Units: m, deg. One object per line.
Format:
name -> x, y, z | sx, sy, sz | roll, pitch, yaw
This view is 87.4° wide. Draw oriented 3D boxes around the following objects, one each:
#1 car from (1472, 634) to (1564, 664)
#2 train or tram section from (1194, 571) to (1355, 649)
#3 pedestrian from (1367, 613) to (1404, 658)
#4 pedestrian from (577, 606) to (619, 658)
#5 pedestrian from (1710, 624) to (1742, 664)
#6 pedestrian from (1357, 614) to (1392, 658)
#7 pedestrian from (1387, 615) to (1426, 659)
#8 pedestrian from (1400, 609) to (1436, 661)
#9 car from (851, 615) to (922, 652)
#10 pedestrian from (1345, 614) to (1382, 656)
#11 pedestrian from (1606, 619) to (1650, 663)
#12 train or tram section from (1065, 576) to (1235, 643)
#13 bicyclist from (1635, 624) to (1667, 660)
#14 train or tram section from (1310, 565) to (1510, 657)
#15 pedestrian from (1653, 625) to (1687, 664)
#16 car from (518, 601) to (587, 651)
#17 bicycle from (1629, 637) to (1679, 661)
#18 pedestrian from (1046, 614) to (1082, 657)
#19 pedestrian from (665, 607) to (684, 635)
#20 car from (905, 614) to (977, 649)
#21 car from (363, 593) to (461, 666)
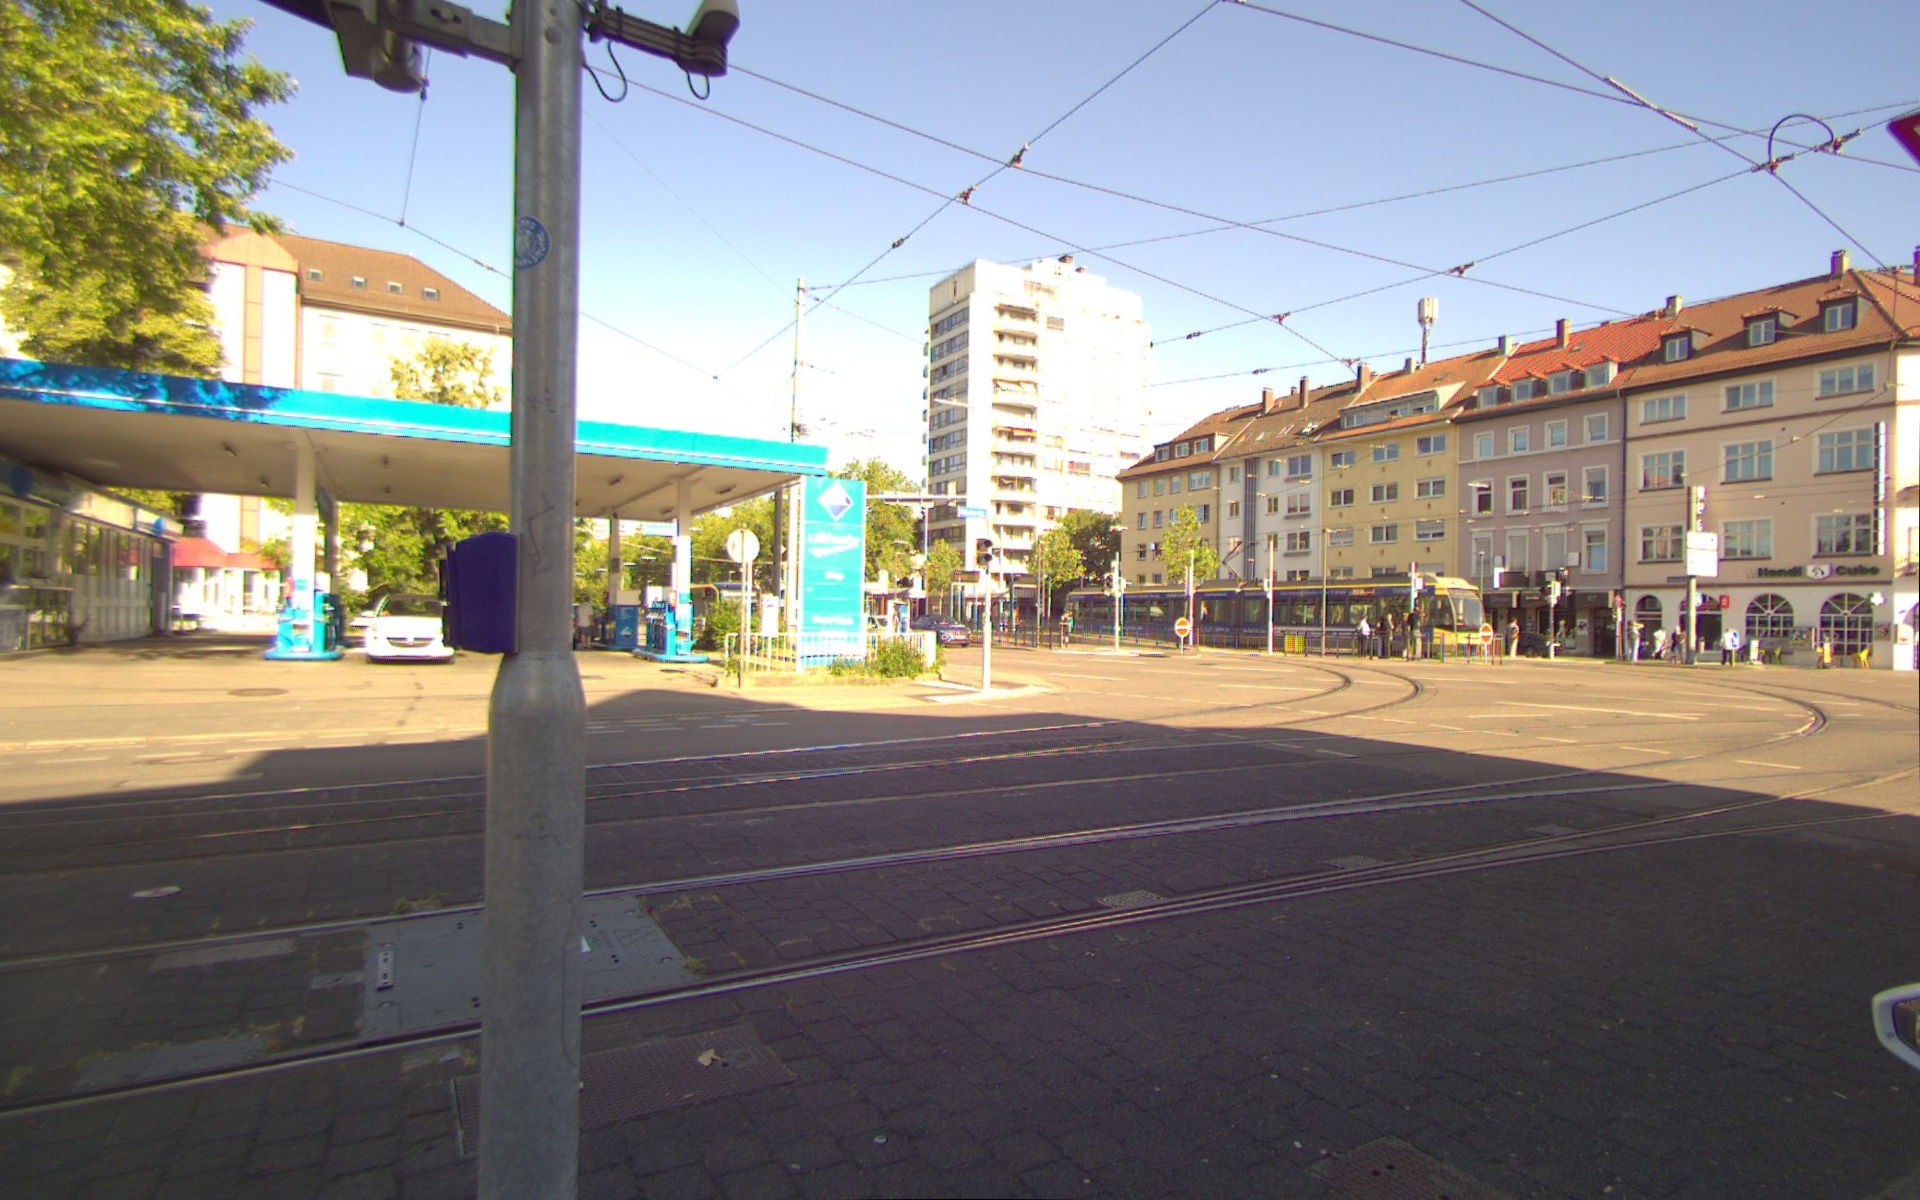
car -> 30.433, 2.635, 54.917 | 1.977, 1.472, 3.966 | 1, -1, -31
train or tram section -> 15.460, 0.531, 50.153 | 2.785, 3.546, 8.410 | 1, -1, -25
pedestrian -> 15.523, 1.297, 36.693 | 0.923, 1.619, 1.010 | 1, -1, 1
pedestrian -> -11.636, 1.022, 32.278 | 1.147, 1.647, 0.808 | 0, -1, 42
pedestrian -> 35.311, 2.018, 46.332 | 0.990, 1.798, 0.940 | 0, -1, 26
pedestrian -> 15.581, 1.338, 37.820 | 0.922, 1.619, 1.010 | 1, -1, 3
pedestrian -> 16.614, 1.369, 37.368 | 0.924, 1.619, 1.008 | 1, -1, -9
pedestrian -> 16.346, 1.243, 35.845 | 0.922, 1.798, 1.010 | 1, -1, 10
car -> -3.471, 1.527, 46.745 | 1.863, 1.601, 3.971 | 1, -1, -28
pedestrian -> 15.752, 1.352, 39.261 | 0.925, 1.619, 1.007 | 1, -1, -13
pedestrian -> 26.652, 1.613, 40.079 | 1.091, 1.707, 1.075 | 1, -1, -30
train or tram section -> 10.796, 0.589, 59.052 | 2.746, 3.546, 11.936 | 1, -1, -29
bicyclist -> 35.979, 2.178, 52.281 | 0.740, 1.798, 1.159 | 1, -1, -31
train or tram section -> 18.890, 0.479, 42.799 | 2.786, 3.546, 7.912 | 1, -1, -25
pedestrian -> 34.077, 2.125, 48.214 | 0.926, 1.798, 1.006 | 1, -1, -15
car -> -13.444, 0.837, 33.023 | 1.725, 1.431, 4.061 | 5, -2, -26
bicycle -> 36.062, 2.545, 52.235 | 0.623, 1.197, 2.081 | 1, -1, -29
pedestrian -> 4.667, 1.578, 45.008 | 1.156, 1.870, 1.098 | 2, -1, -28
pedestrian -> -16.424, 1.218, 57.789 | 0.907, 1.595, 0.959 | 1, -1, -22
car -> -0.956, 1.489, 48.266 | 1.863, 1.601, 3.971 | 1, -1, -28
car -> -12.310, 0.635, 22.531 | 1.760, 1.483, 3.968 | 1, -1, -30
